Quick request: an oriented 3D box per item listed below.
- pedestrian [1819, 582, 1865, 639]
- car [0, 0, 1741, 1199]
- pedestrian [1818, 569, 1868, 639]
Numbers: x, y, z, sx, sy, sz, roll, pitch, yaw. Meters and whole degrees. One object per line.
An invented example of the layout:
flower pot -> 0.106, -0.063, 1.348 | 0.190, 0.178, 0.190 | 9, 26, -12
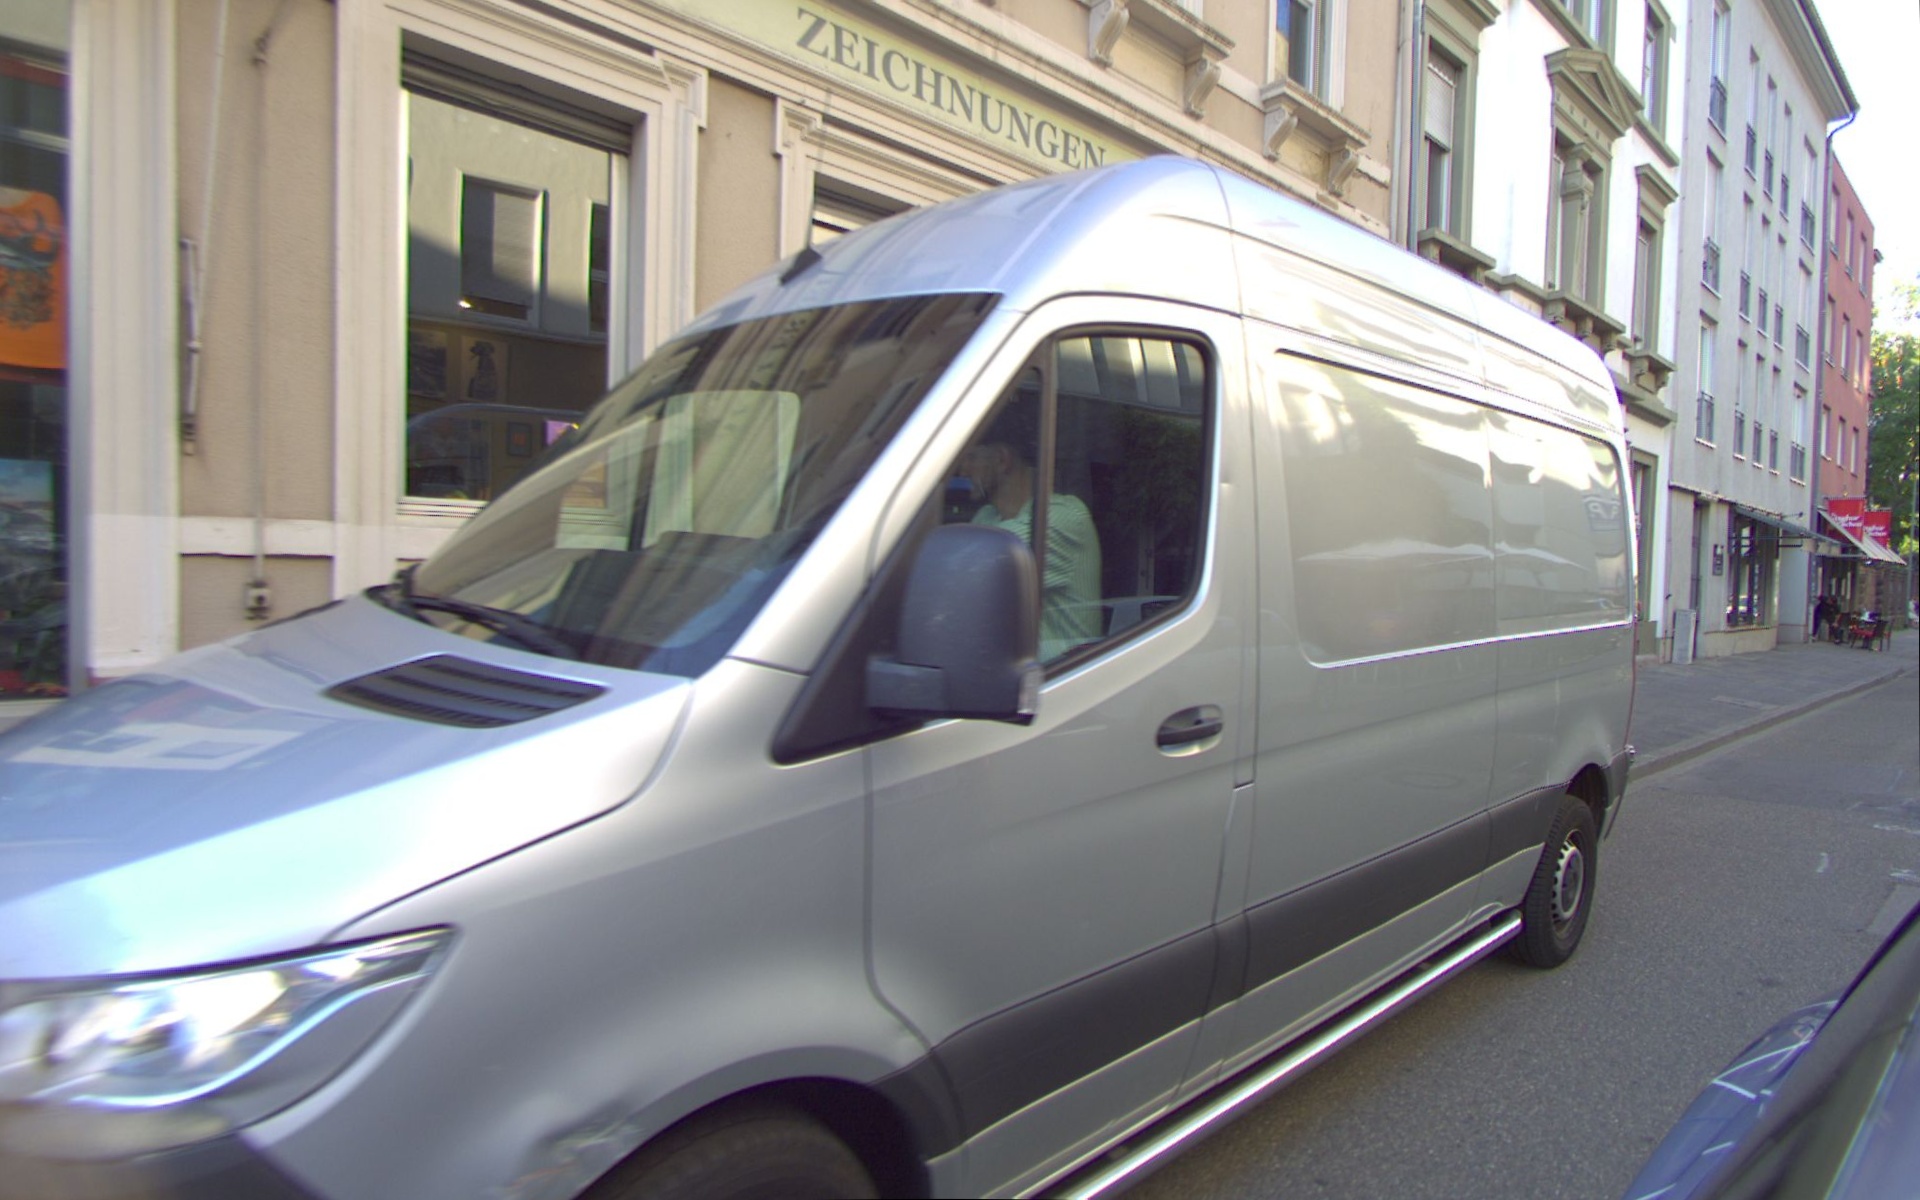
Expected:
pedestrian -> 24.036, 0.269, 27.574 | 0.650, 1.504, 0.826 | 0, 2, -42
car -> 0.474, 0.045, 3.498 | 6.094, 2.470, 2.282 | 0, 2, -41
pedestrian -> 23.868, 0.090, 27.364 | 0.652, 1.814, 0.726 | 5, 4, 21
